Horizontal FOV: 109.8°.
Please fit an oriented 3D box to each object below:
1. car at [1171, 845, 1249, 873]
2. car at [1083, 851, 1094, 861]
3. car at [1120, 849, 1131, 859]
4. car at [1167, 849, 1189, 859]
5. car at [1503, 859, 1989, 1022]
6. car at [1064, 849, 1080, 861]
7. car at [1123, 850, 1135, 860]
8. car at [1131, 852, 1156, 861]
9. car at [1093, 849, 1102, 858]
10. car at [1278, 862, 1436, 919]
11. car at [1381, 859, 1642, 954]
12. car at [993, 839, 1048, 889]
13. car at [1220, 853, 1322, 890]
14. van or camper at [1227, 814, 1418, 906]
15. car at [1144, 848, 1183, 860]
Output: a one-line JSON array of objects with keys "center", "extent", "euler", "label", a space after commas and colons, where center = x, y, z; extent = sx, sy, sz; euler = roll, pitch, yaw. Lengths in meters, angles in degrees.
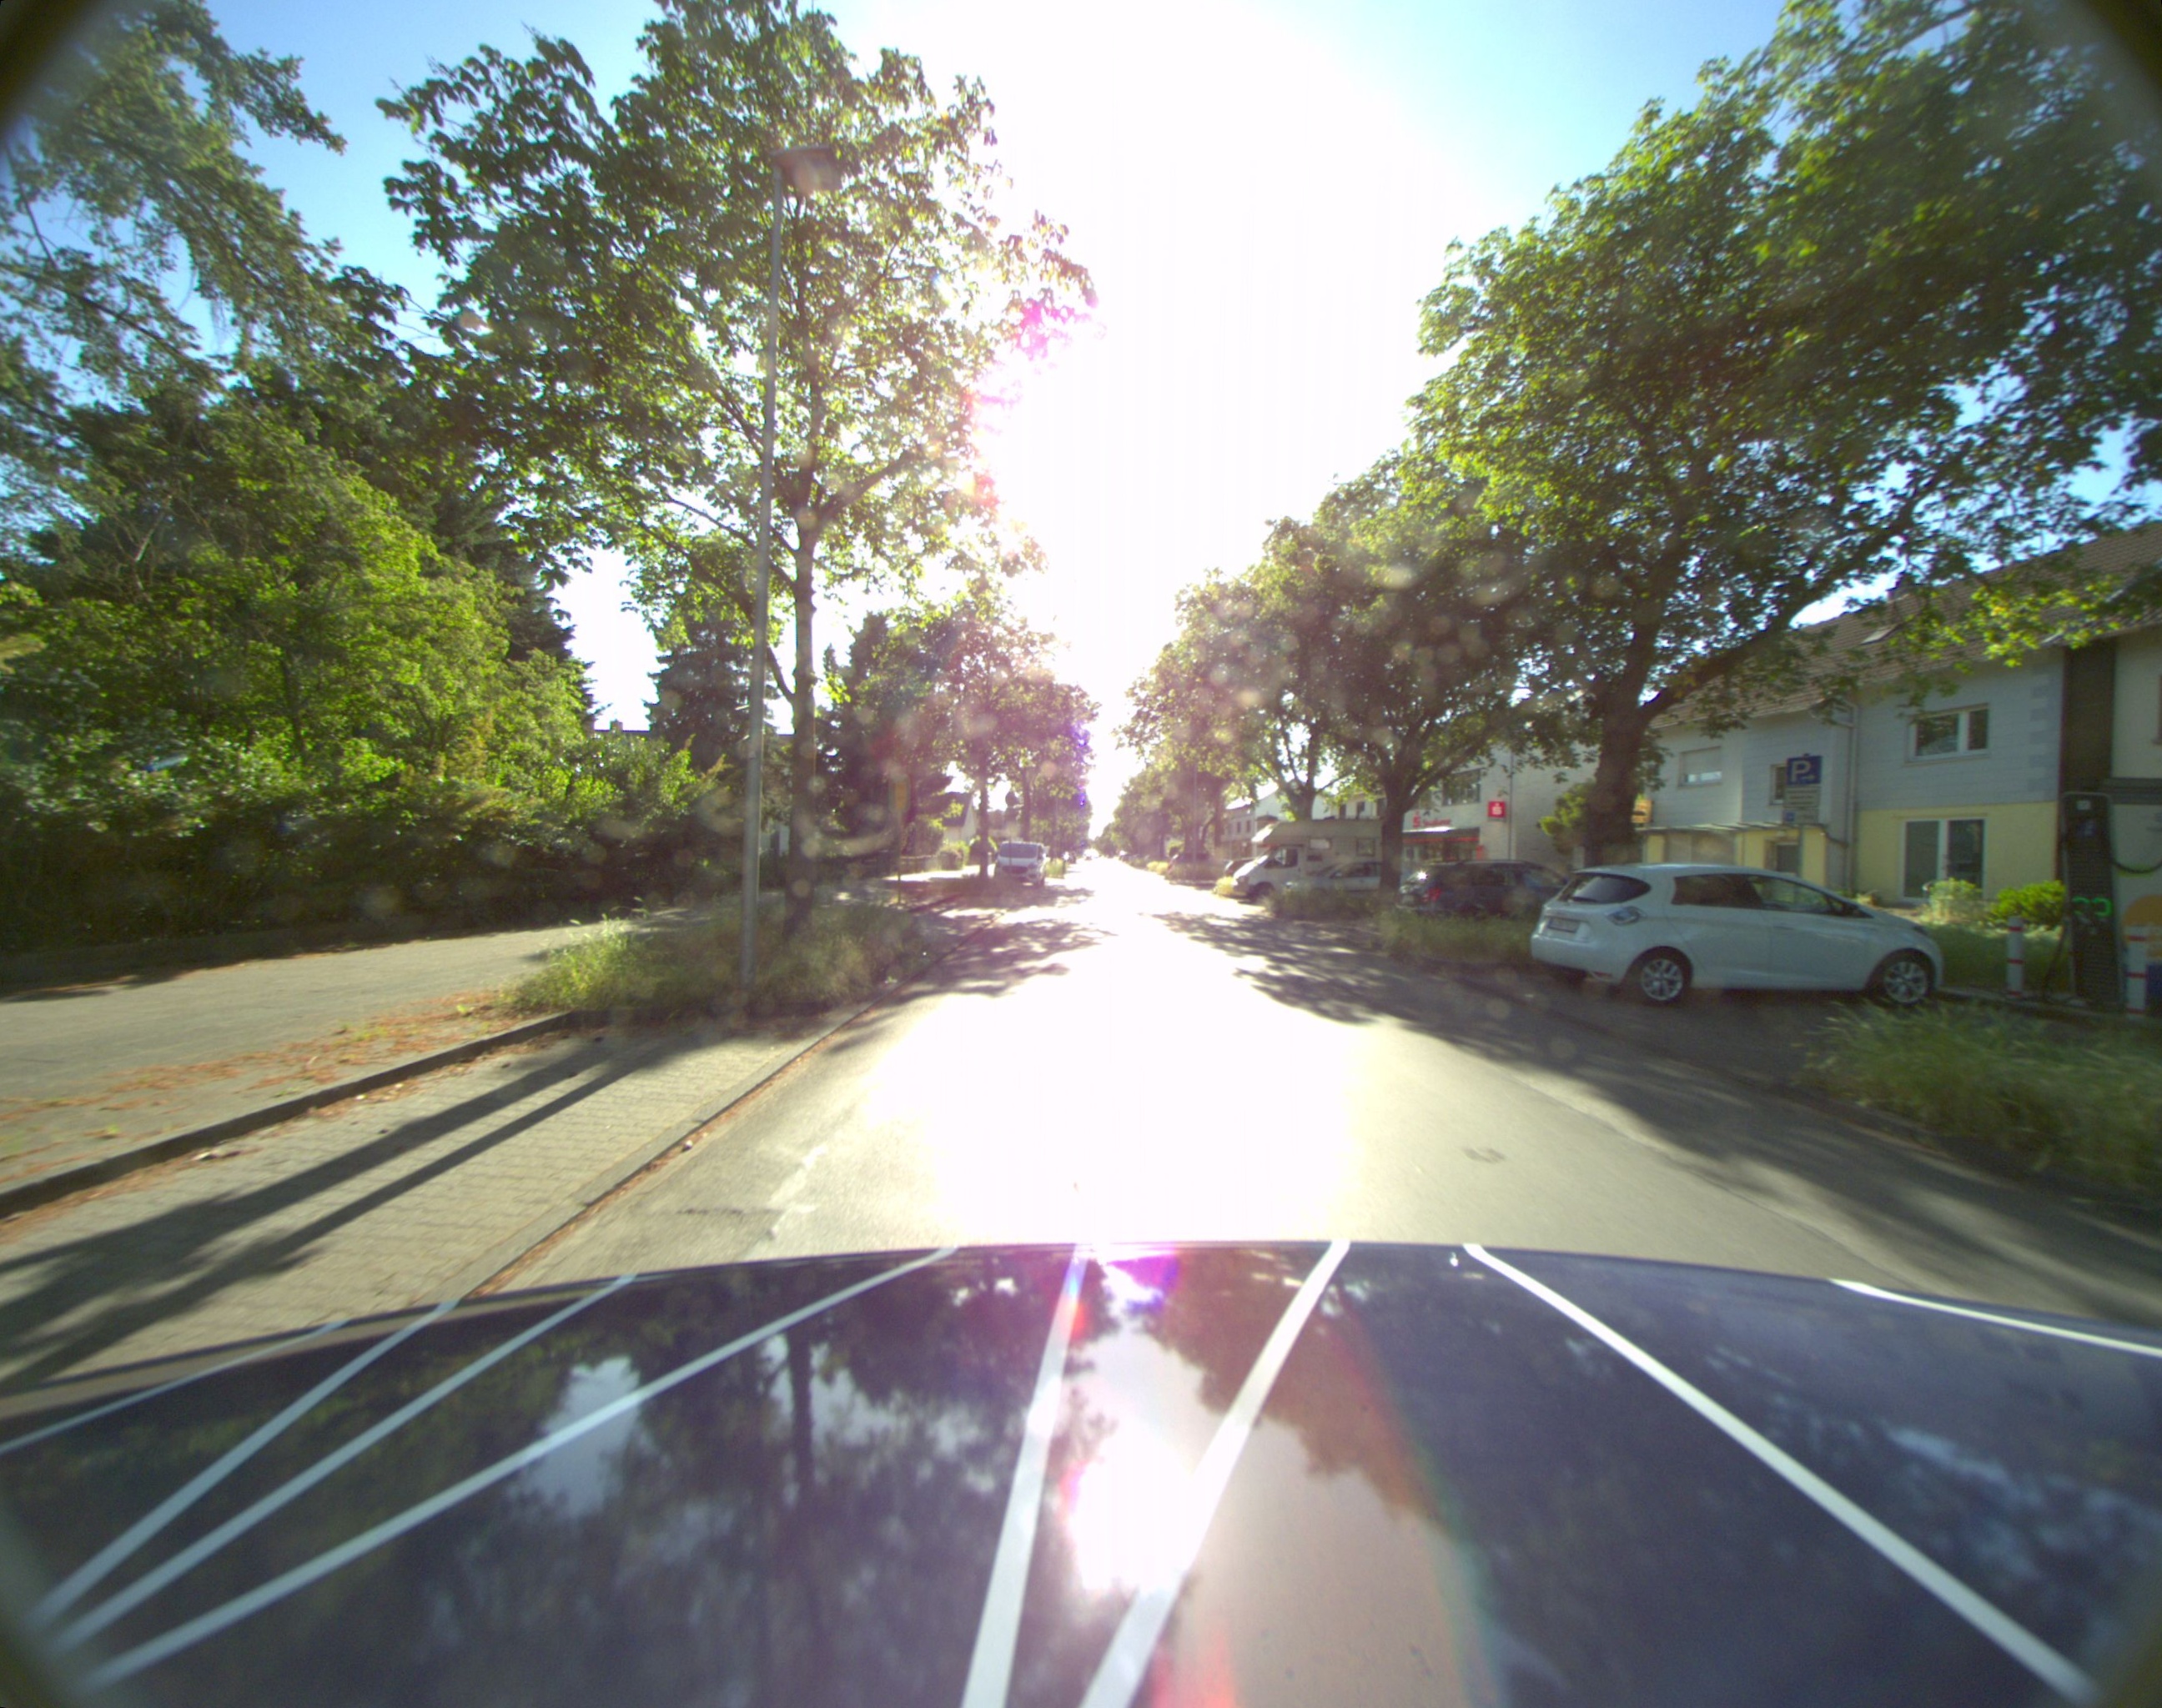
[{"center": [9.038, 0.333, 53.517], "extent": [5.075, 1.718, 1.999], "euler": [-2, 1, -3], "label": "car"}, {"center": [1.272, 0.307, 125.726], "extent": [1.539, 1.582, 3.458], "euler": [-2, 1, 3], "label": "car"}, {"center": [7.885, -0.064, 134.641], "extent": [1.815, 1.722, 4.056], "euler": [1, 0, 3], "label": "car"}, {"center": [19.419, -0.005, 152.275], "extent": [3.997, 1.674, 2.000], "euler": [-2, 1, 0], "label": "car"}, {"center": [7.532, 0.920, 8.966], "extent": [3.997, 1.651, 1.966], "euler": [1, 0, 0], "label": "car"}, {"center": [-1.304, 0.088, 107.508], "extent": [1.941, 1.684, 4.363], "euler": [1, 1, 3], "label": "car"}, {"center": [7.781, 0.182, 123.328], "extent": [1.998, 1.530, 3.695], "euler": [-2, 1, 3], "label": "car"}, {"center": [9.745, 0.445, 118.508], "extent": [3.695, 1.315, 1.624], "euler": [-1, 1, -5], "label": "car"}, {"center": [3.244, -0.051, 145.007], "extent": [1.539, 1.582, 3.458], "euler": [-2, 1, 3], "label": "car"}, {"center": [8.195, 1.055, 22.821], "extent": [3.997, 1.450, 1.999], "euler": [-2, 1, -1], "label": "car"}, {"center": [8.323, 0.971, 14.978], "extent": [3.997, 1.580, 1.999], "euler": [-2, 1, 0], "label": "car"}, {"center": [-2.620, 0.367, 34.158], "extent": [1.999, 2.002, 5.195], "euler": [-2, 1, 0], "label": "car"}, {"center": [8.052, 0.734, 32.510], "extent": [3.996, 1.441, 1.639], "euler": [-1, 1, 4], "label": "car"}, {"center": [8.014, 0.179, 25.680], "extent": [5.789, 2.789, 2.000], "euler": [-2, 1, 3], "label": "van or camper"}, {"center": [9.859, -0.011, 91.153], "extent": [4.392, 1.408, 2.000], "euler": [0, 1, 0], "label": "car"}]
